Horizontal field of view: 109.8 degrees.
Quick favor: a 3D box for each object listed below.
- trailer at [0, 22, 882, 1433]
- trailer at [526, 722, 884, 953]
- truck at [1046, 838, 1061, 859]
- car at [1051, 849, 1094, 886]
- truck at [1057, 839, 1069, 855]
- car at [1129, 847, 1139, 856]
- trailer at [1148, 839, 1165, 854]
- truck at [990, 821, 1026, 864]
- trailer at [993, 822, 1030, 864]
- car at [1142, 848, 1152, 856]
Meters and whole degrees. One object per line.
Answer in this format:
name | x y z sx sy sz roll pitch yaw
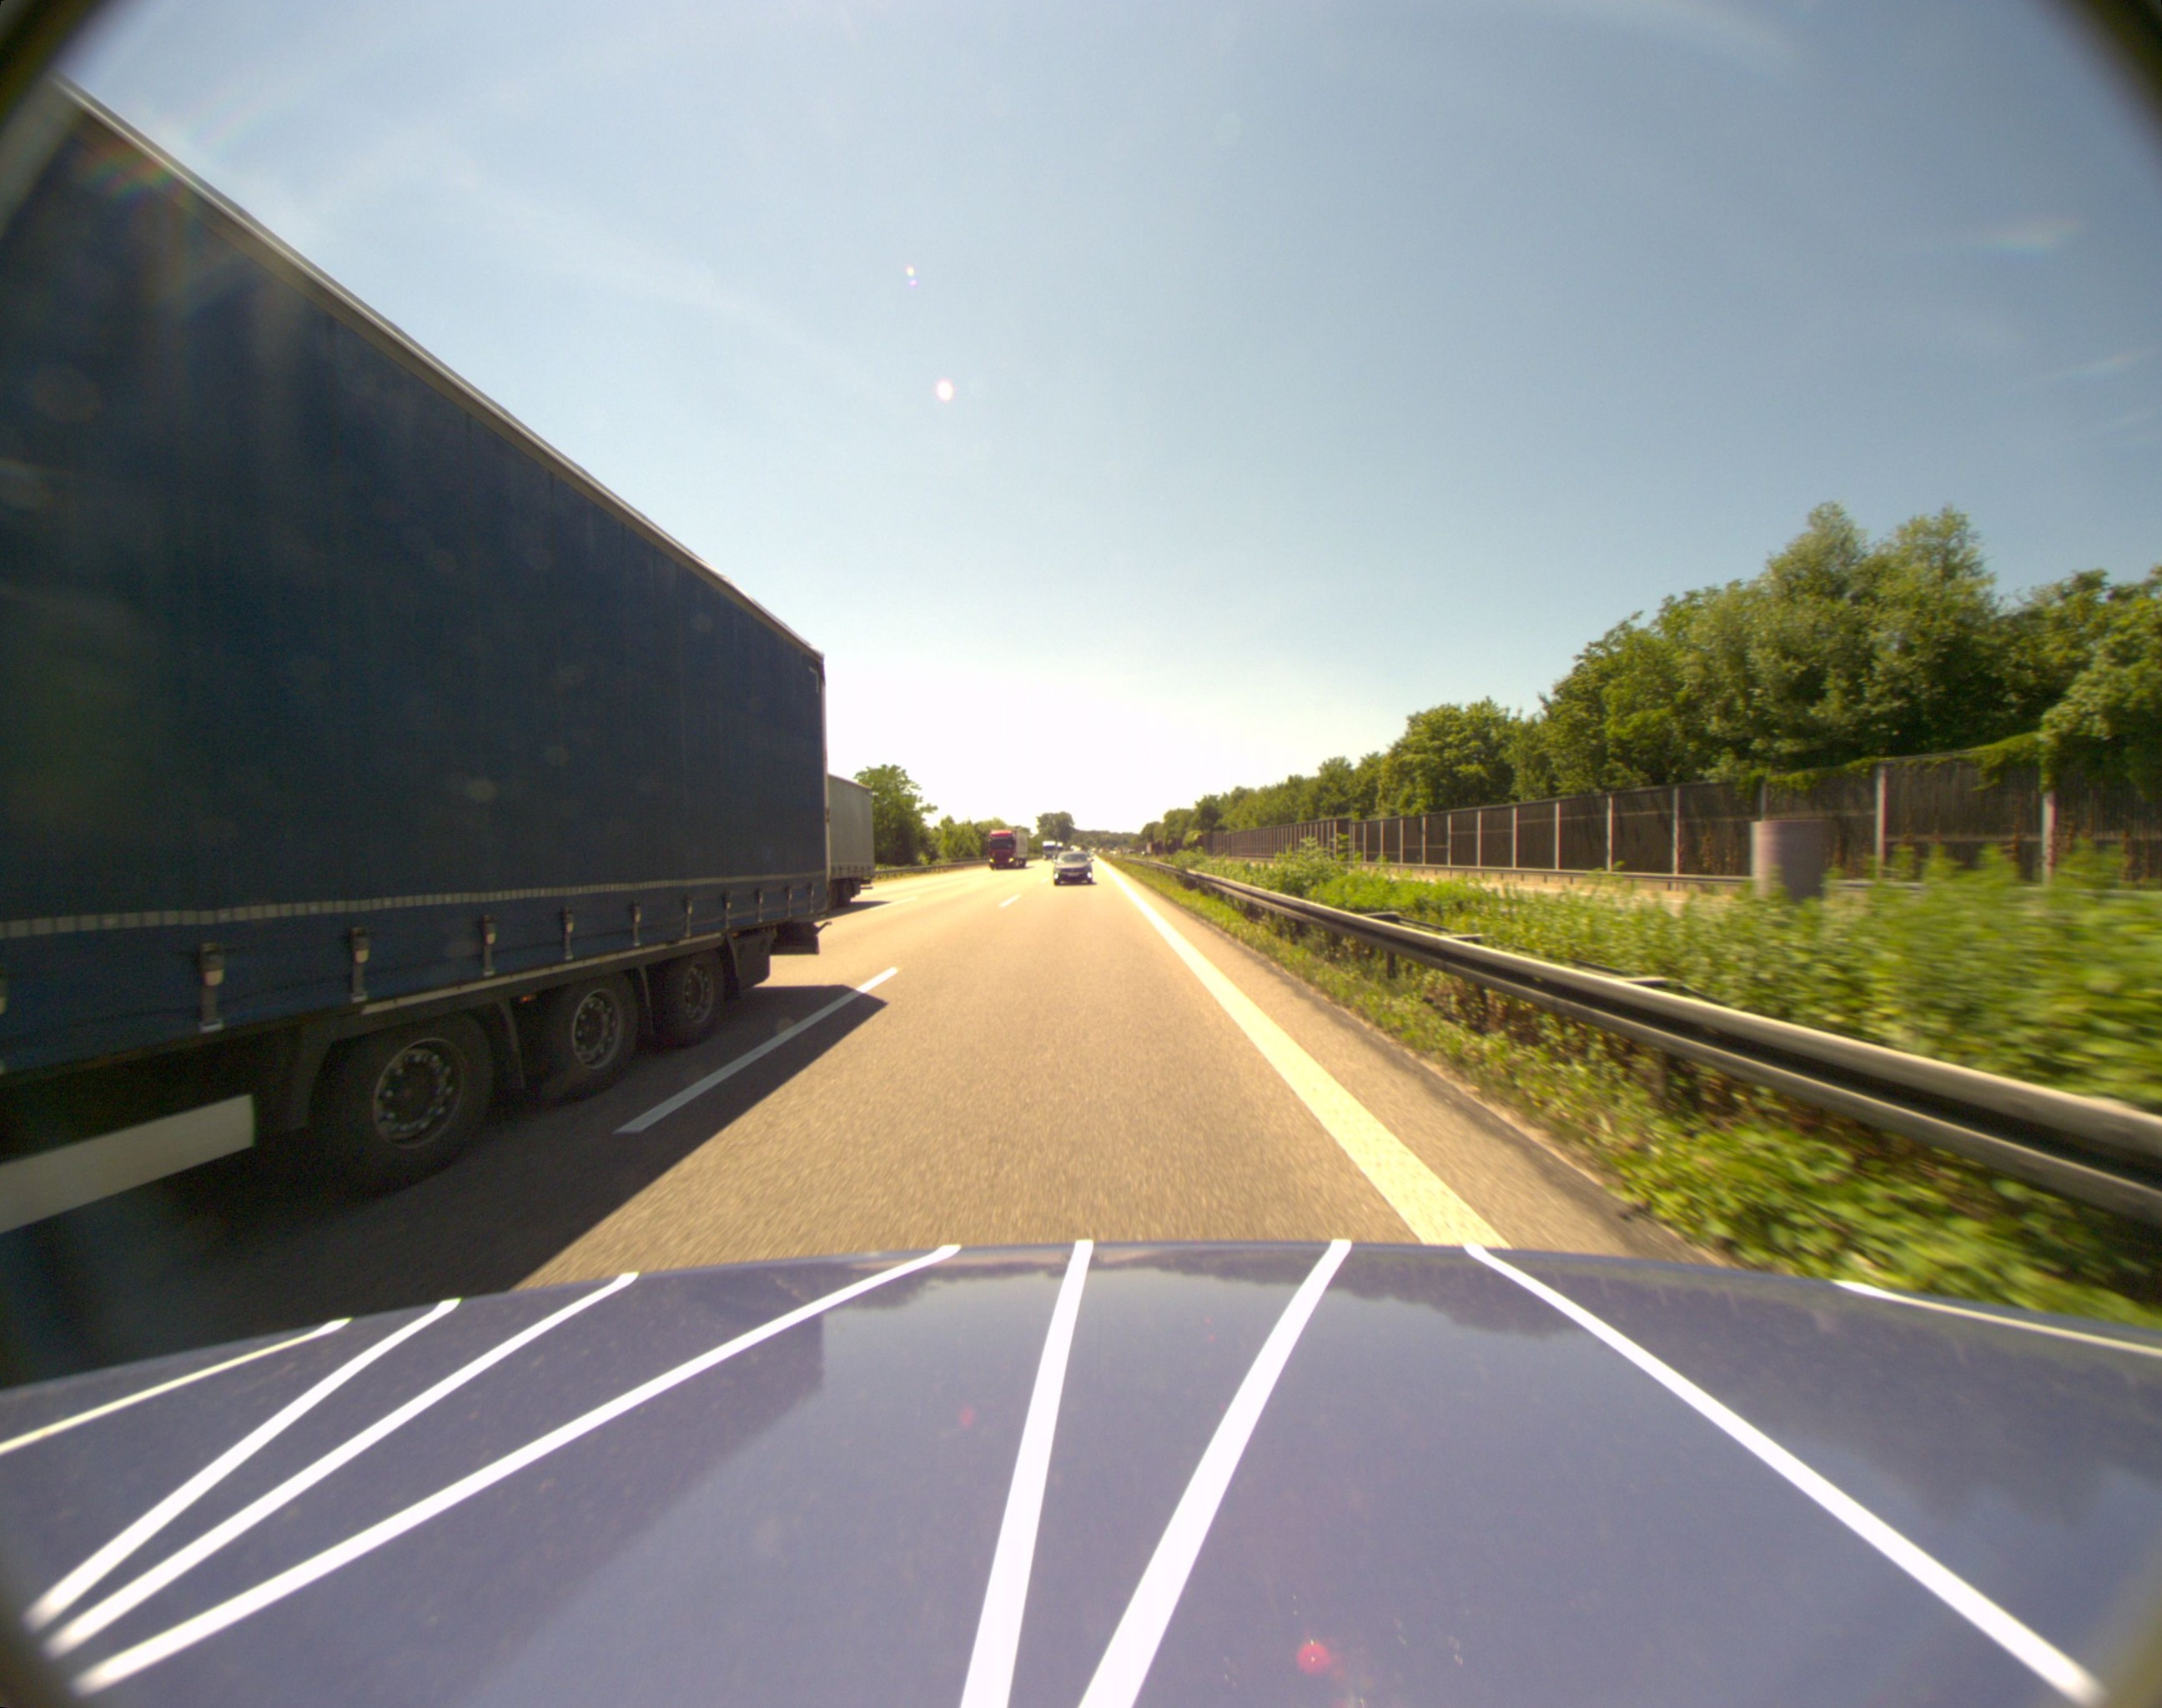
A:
trailer | -4.443 -0.397 5.210 2.707 4.094 12.130 -2 1 1
trailer | -8.534 -0.367 20.392 2.707 4.094 13.239 -2 1 1
truck | -5.918 -1.144 164.450 2.992 4.248 9.822 -2 1 0
car | -0.410 0.598 36.552 1.885 1.630 5.008 -1 0 0
truck | -4.657 -1.753 196.291 2.743 3.844 12.464 -2 1 0
car | 10.894 -0.496 157.732 1.787 1.830 4.558 0 0 0
trailer | 20.421 -2.058 206.662 3.125 3.985 13.874 1 1 1
truck | -7.449 -1.161 78.290 2.803 4.094 7.768 -2 1 0
trailer | -7.450 -1.188 83.445 2.803 4.094 12.298 -2 1 0
car | 15.747 -0.486 182.148 1.885 1.682 4.548 -1 0 0
